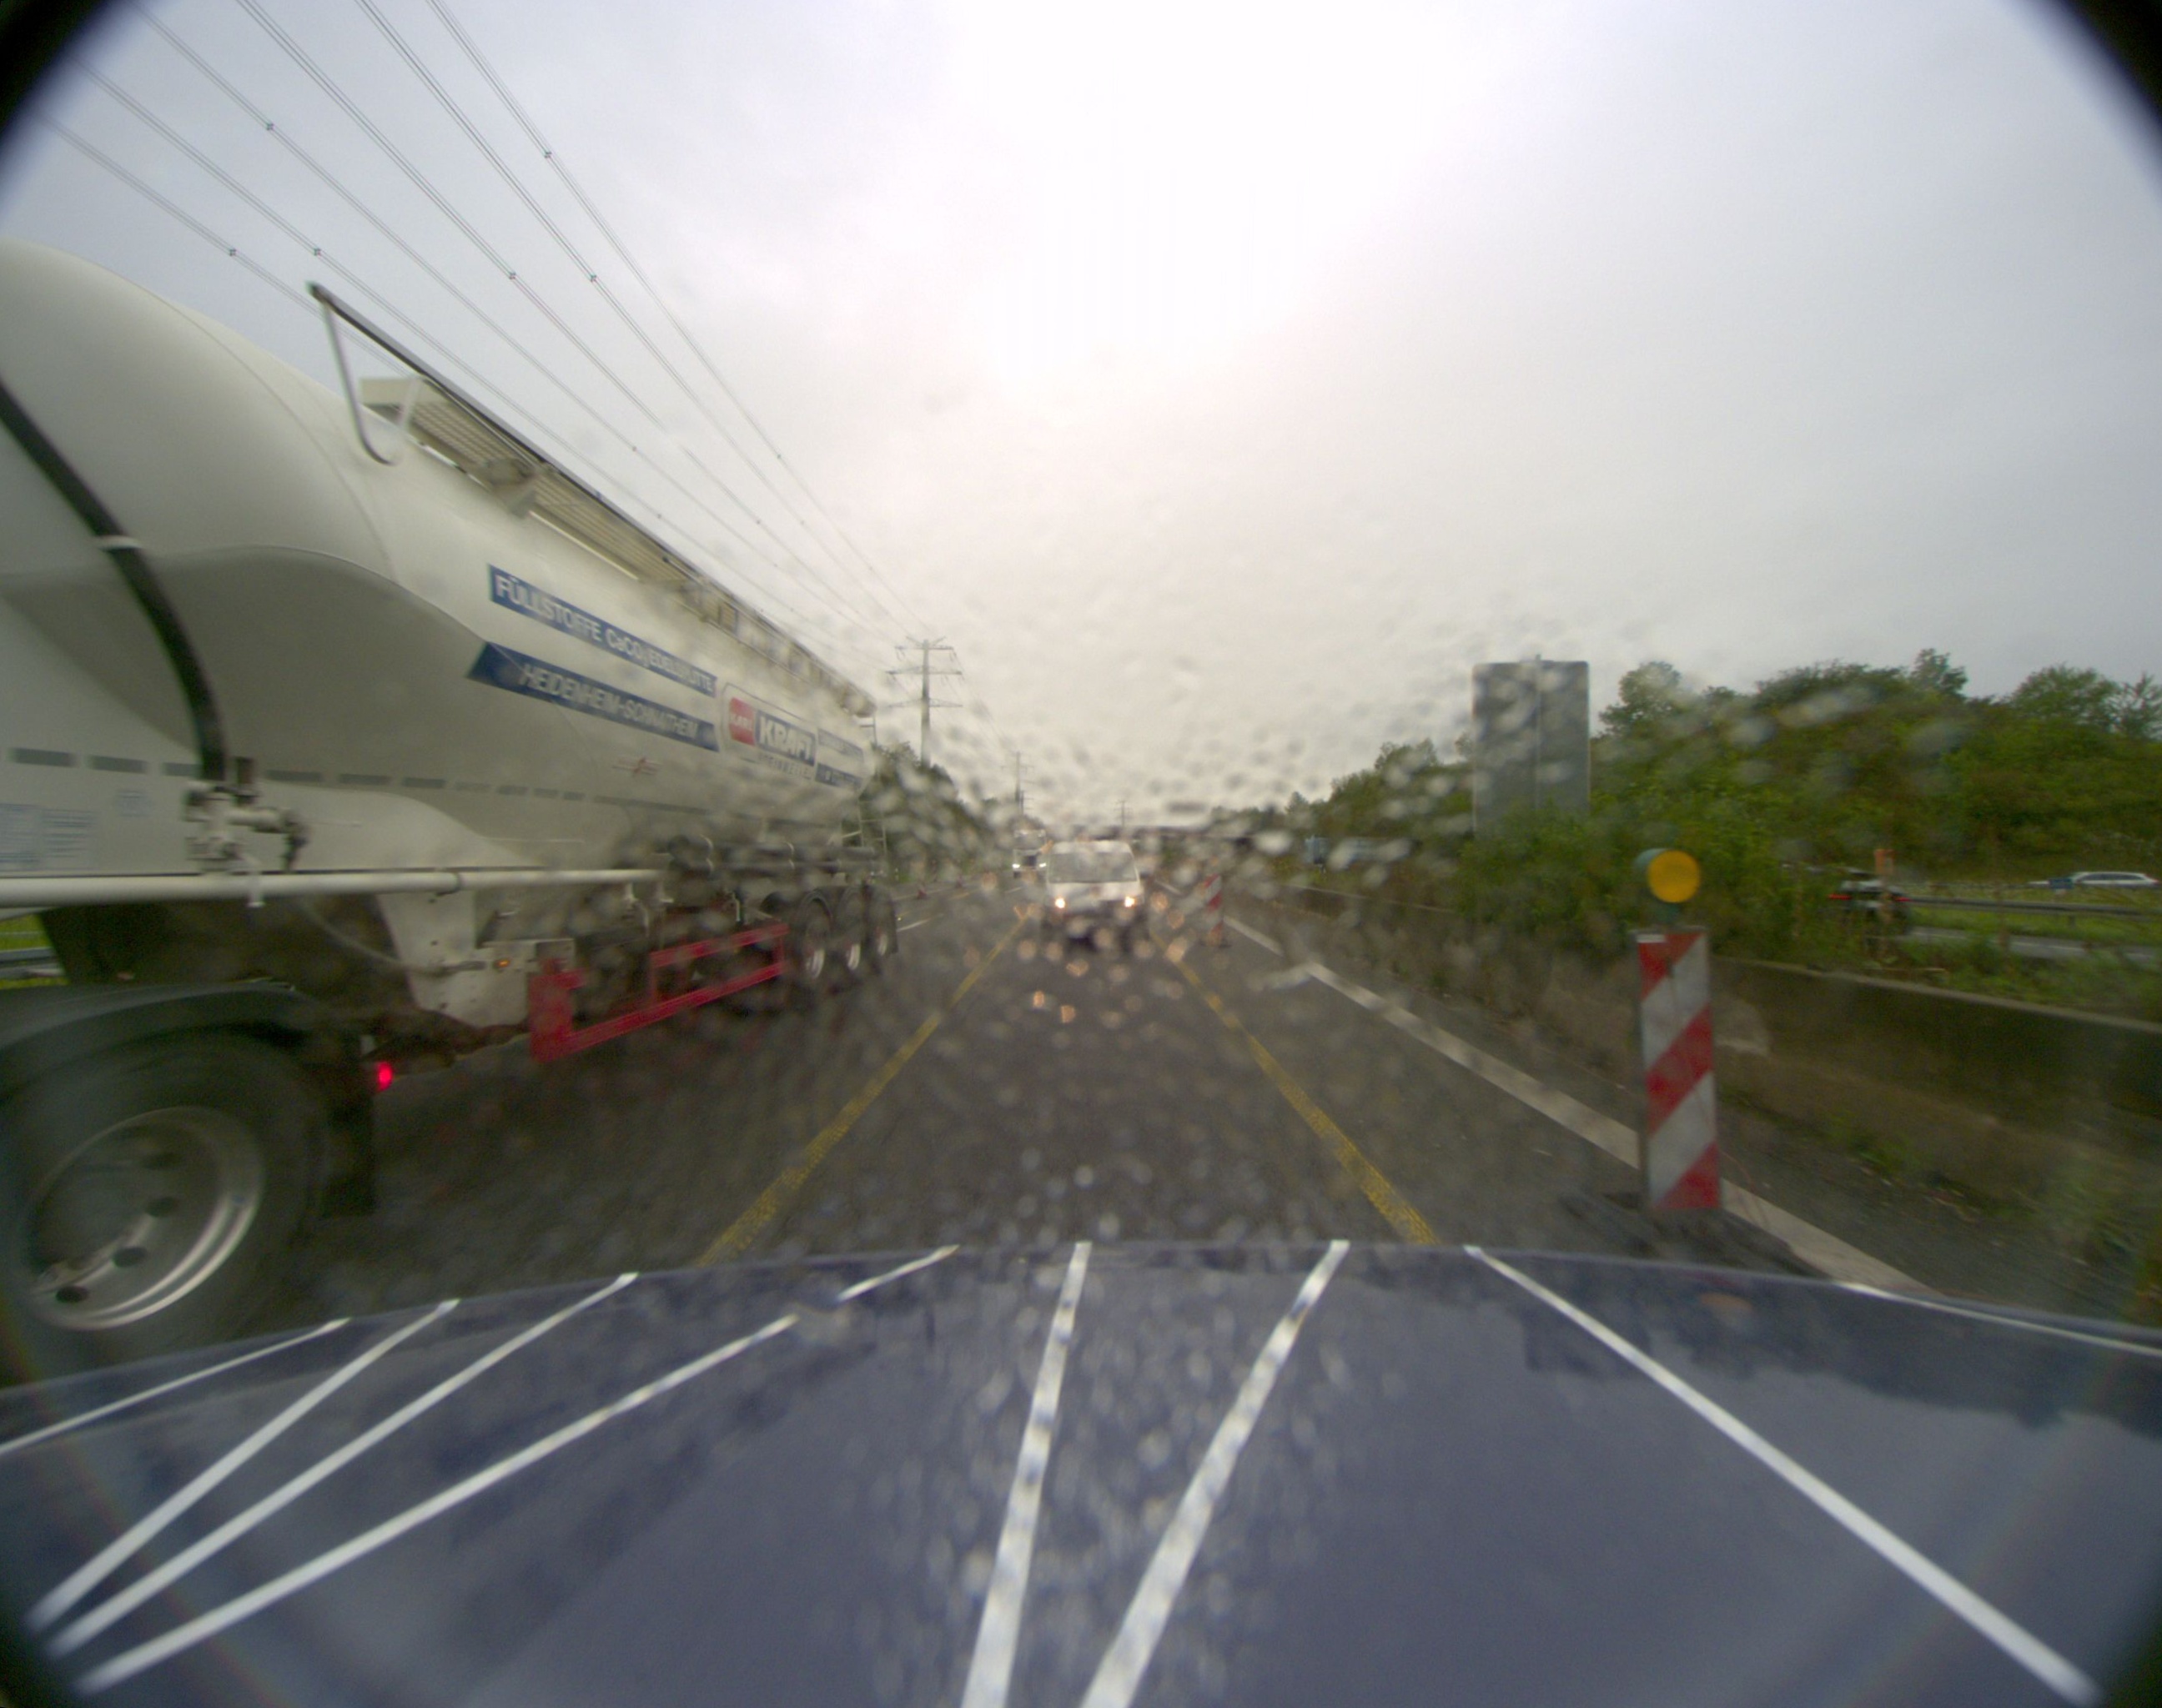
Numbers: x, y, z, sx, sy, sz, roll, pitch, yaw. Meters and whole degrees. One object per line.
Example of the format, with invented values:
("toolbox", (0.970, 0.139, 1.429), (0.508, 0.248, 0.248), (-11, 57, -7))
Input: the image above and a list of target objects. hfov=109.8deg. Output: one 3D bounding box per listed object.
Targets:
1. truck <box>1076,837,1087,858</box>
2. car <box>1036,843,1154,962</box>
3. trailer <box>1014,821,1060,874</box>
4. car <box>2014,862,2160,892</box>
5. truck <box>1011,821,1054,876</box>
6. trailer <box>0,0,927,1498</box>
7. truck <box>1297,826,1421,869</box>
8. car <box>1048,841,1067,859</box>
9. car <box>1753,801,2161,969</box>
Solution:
("truck", (0.172, -1.577, 186.524), (2.276, 3.689, 6.641), (-2, 13, 1))
("car", (0.198, 0.743, 14.030), (1.770, 1.774, 4.647), (-2, 0, -1))
("trailer", (-3.559, -0.601, 64.693), (2.808, 3.980, 14.147), (-2, 1, 1))
("car", (50.808, 1.141, 38.491), (3.990, 1.395, 1.923), (0, 1, 23))
("truck", (-3.632, -0.461, 58.522), (2.748, 3.912, 5.396), (-2, 1, 1))
("trailer", (-3.891, -0.352, 5.787), (2.526, 3.812, 12.349), (-2, 1, 1))
("truck", (25.333, -0.543, 70.622), (2.902, 3.598, 14.560), (0, 0, -15))
("car", (-2.767, -0.490, 90.708), (1.998, 2.002, 3.999), (-2, 1, 1))
("car", (12.735, 0.344, 11.314), (1.998, 2.002, 4.000), (-2, 1, 2))
